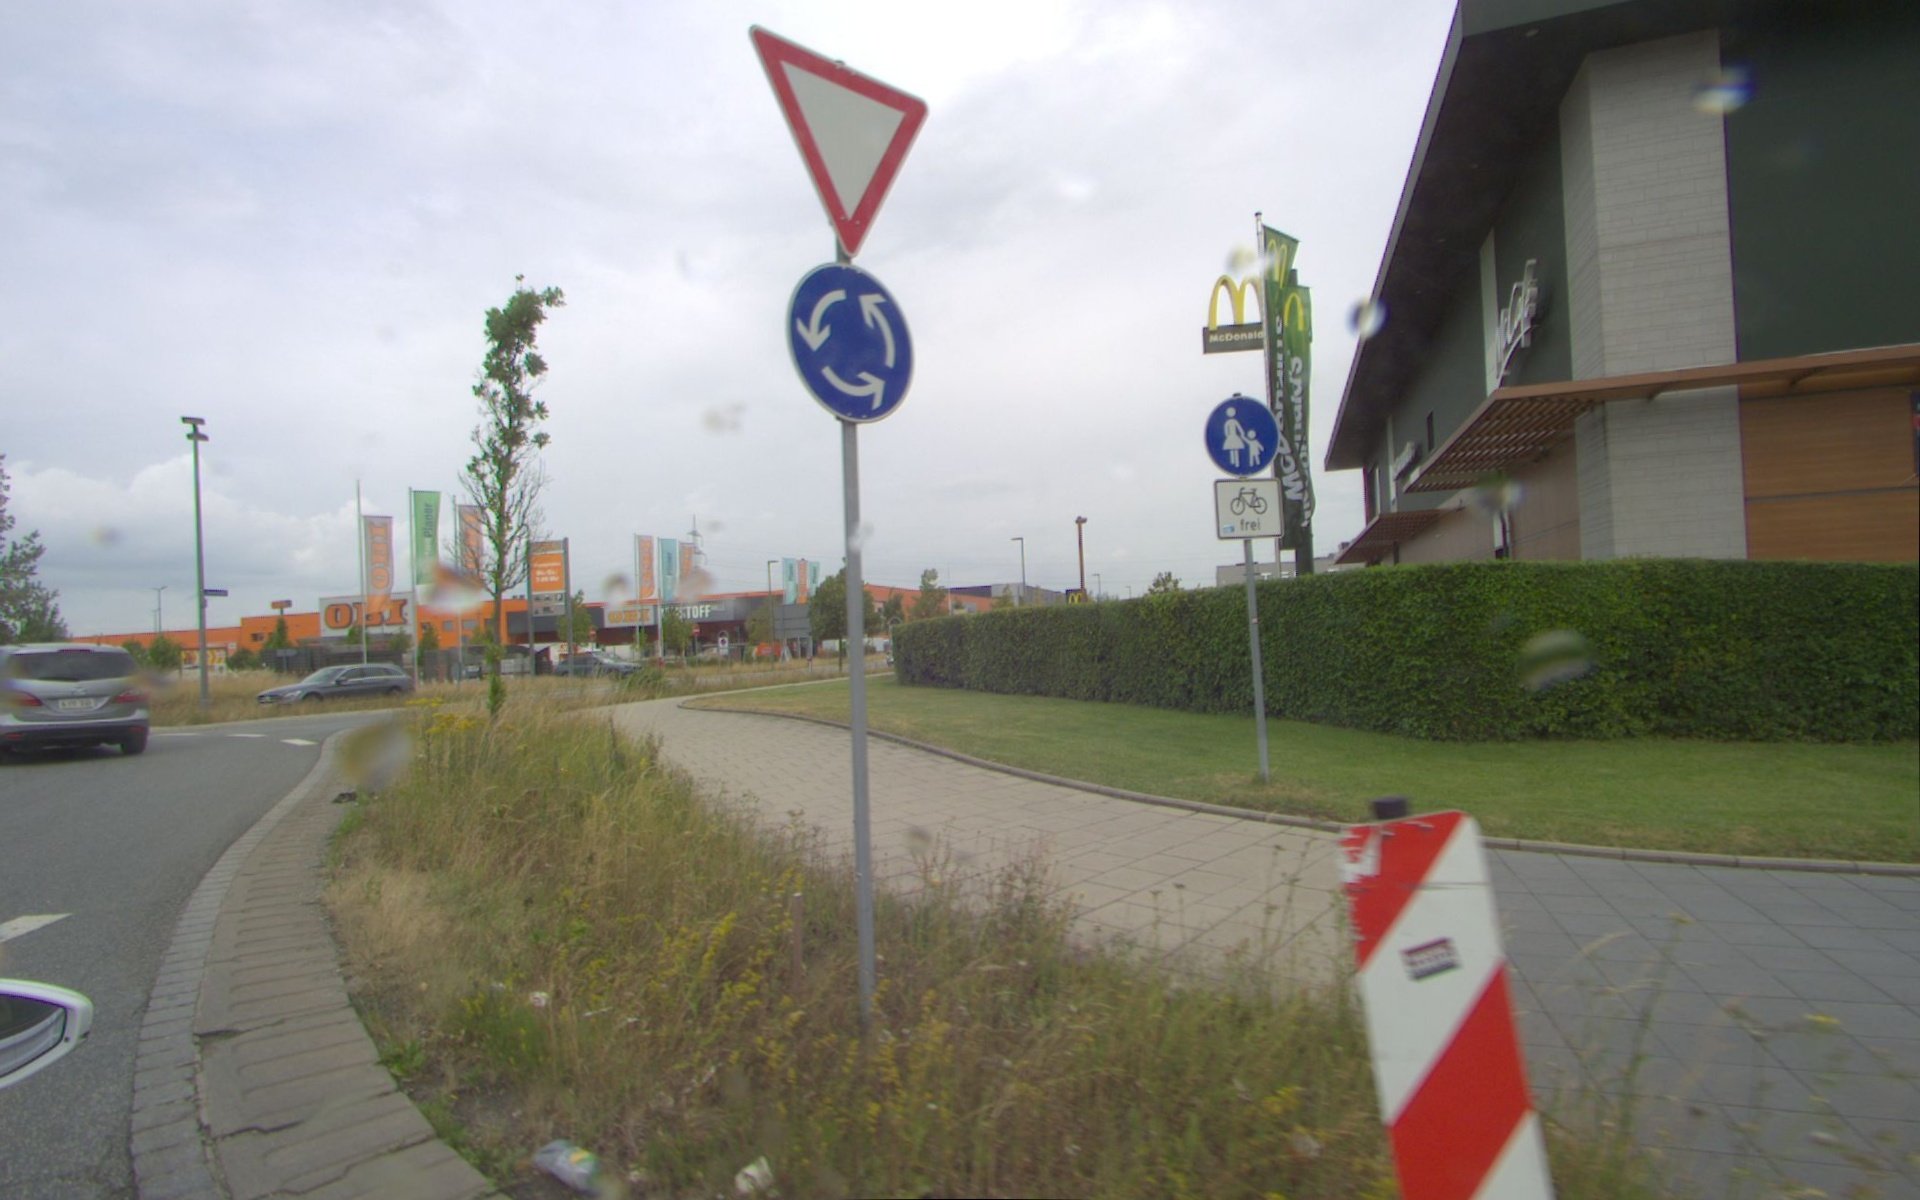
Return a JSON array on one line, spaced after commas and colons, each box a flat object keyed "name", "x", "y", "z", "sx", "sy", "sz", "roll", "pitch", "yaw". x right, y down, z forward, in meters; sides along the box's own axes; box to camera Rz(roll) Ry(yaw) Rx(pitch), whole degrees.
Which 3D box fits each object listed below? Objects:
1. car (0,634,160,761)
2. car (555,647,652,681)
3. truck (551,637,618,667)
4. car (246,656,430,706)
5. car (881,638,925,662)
[{"name": "car", "x": -13.271, "y": 1.329, "z": 14.656, "sx": 3.952, "sy": 1.618, "sz": 1.730, "roll": -2, "pitch": -3, "yaw": 41}, {"name": "car", "x": -19.413, "y": 3.484, "z": 54.563, "sx": 4.597, "sy": 1.525, "sz": 2.000, "roll": -4, "pitch": -4, "yaw": 14}, {"name": "truck", "x": -35.462, "y": 4.918, "z": 94.590, "sx": 5.447, "sy": 2.513, "sz": 2.441, "roll": -4, "pitch": -4, "yaw": 10}, {"name": "car", "x": -19.378, "y": 2.503, "z": 31.437, "sx": 1.897, "sy": 1.421, "sz": 4.677, "roll": -3, "pitch": -4, "yaw": 24}, {"name": "car", "x": -3.631, "y": 3.173, "z": 64.544, "sx": 1.780, "sy": 1.482, "sz": 3.998, "roll": 0, "pitch": -2, "yaw": 14}]
